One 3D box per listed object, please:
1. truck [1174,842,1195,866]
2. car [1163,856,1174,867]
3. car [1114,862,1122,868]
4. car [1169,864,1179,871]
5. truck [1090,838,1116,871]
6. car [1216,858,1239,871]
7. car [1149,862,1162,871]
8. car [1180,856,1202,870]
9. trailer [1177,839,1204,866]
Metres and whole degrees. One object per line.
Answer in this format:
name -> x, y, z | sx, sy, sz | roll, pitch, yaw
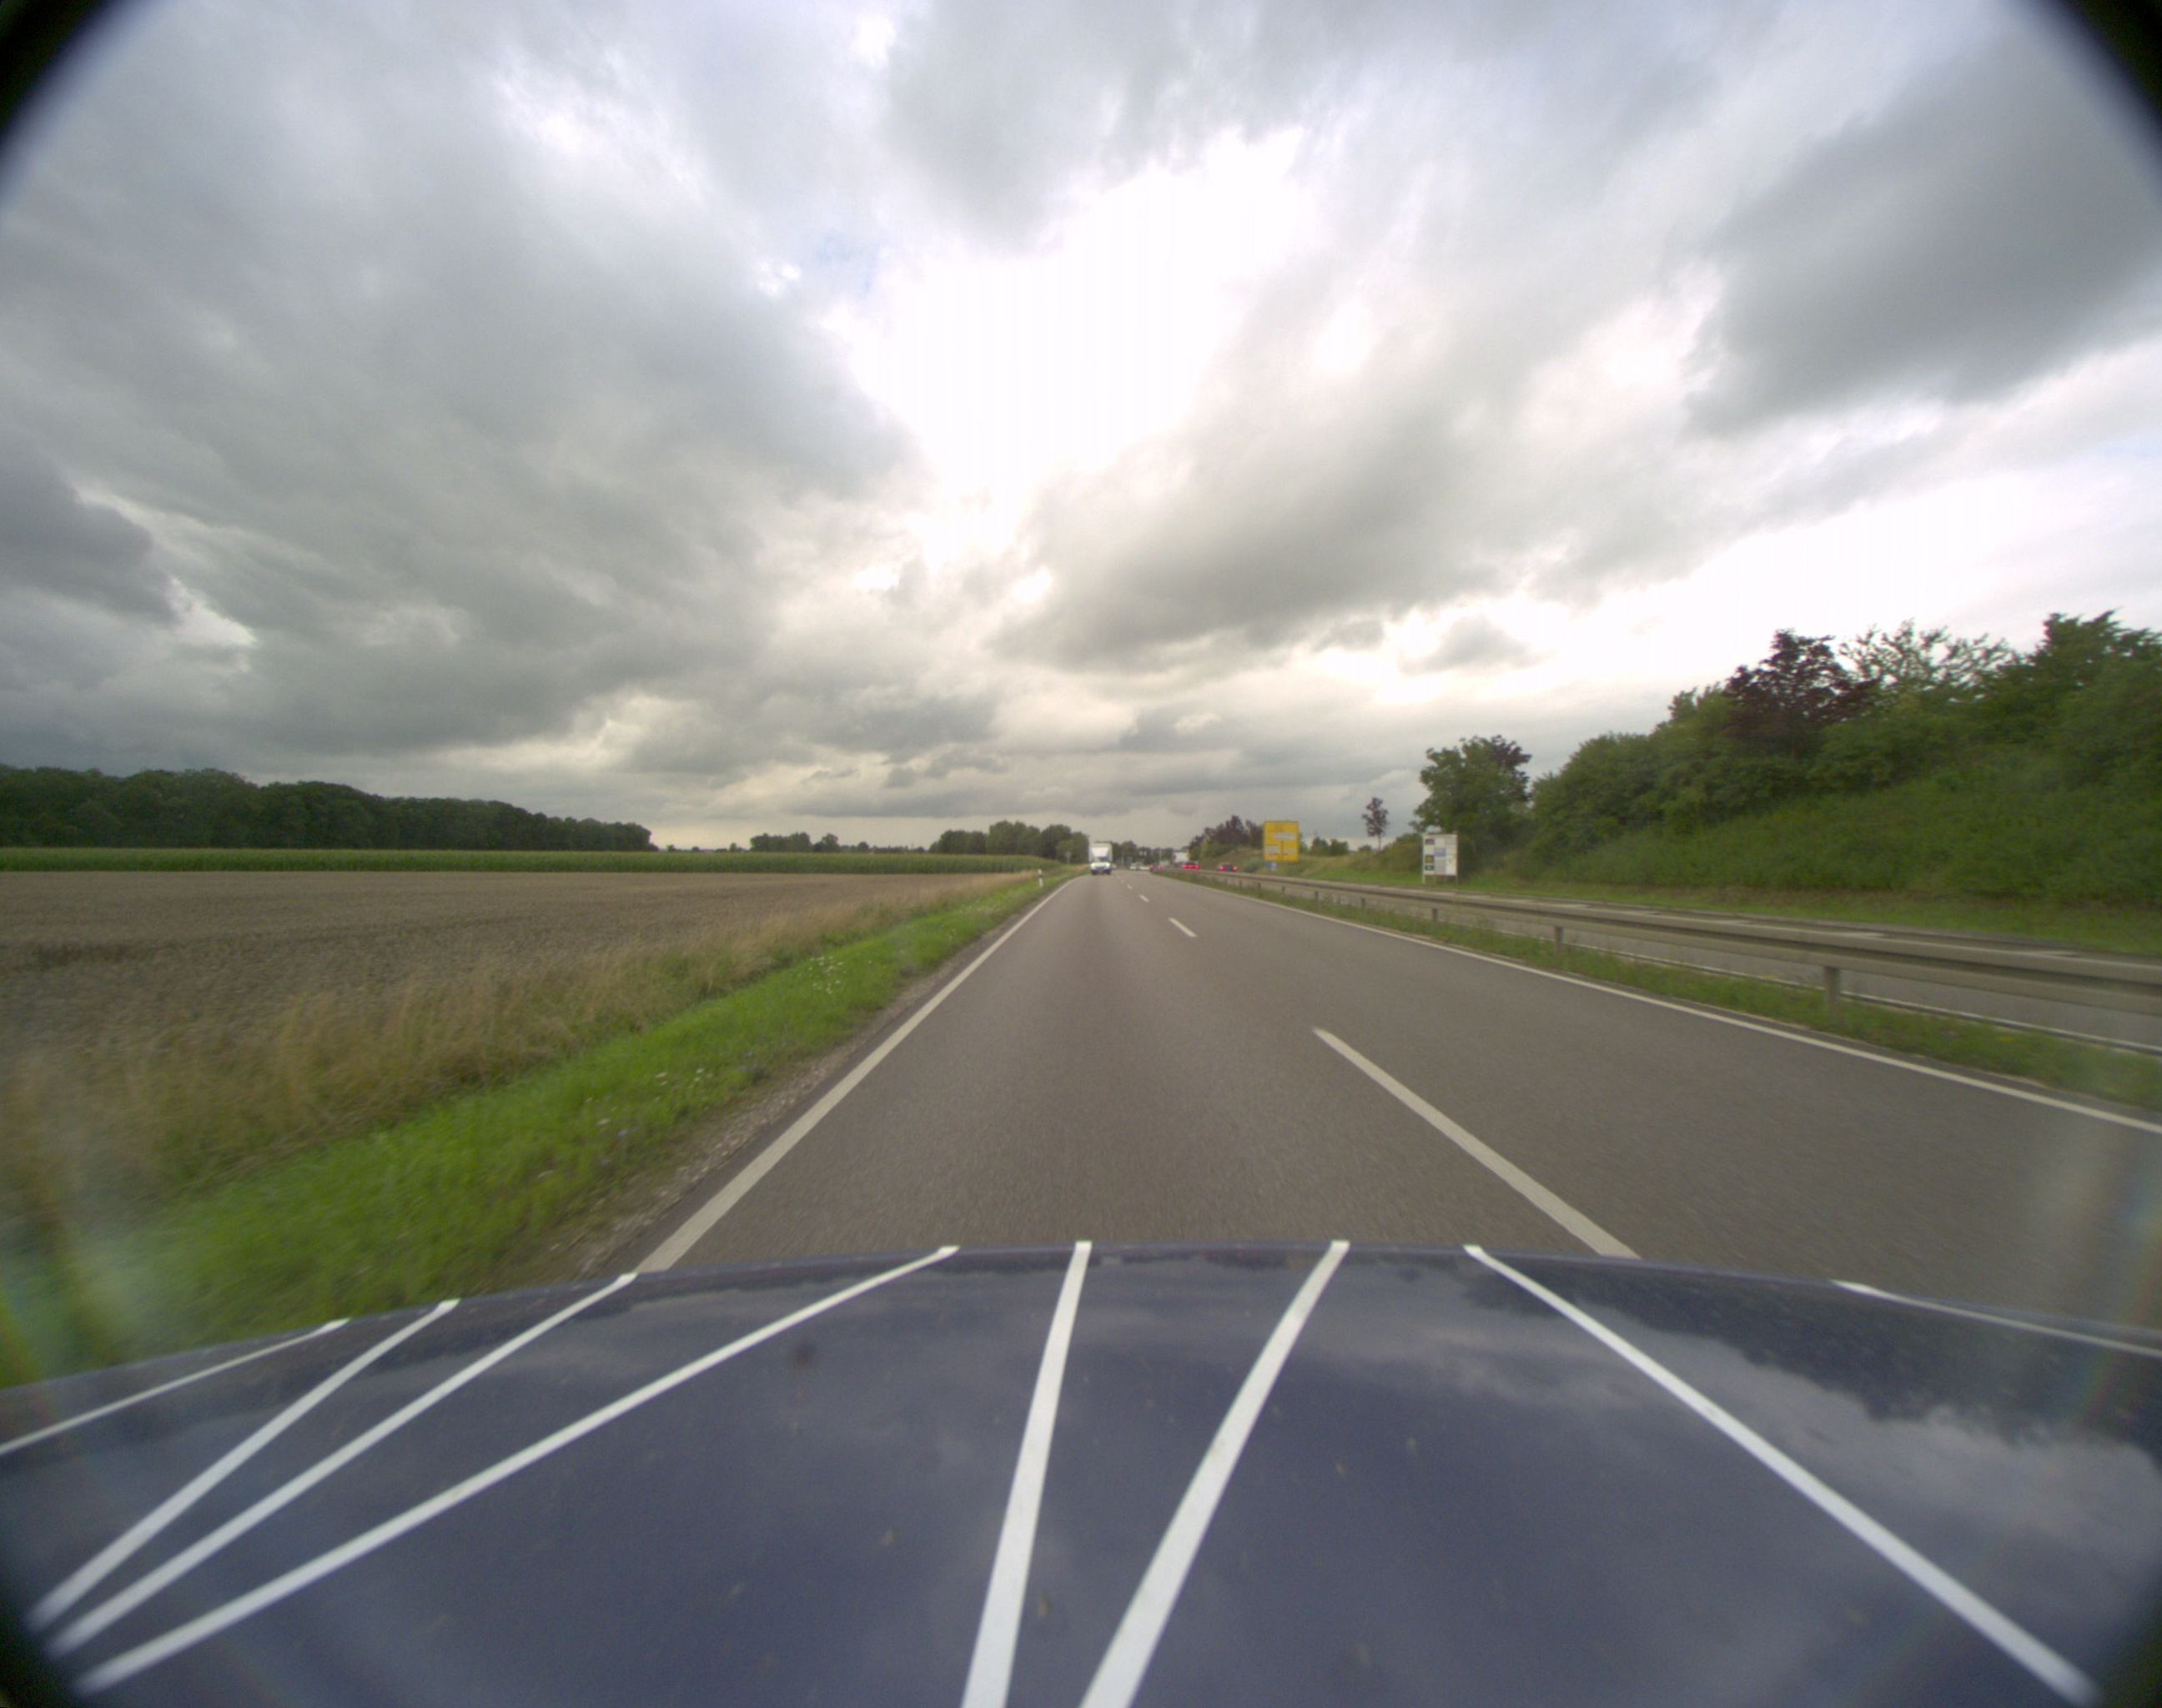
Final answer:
truck -> 17.070, 0.023, 125.722 | 2.809, 3.973, 5.288 | 0, -1, 2
car -> 20.302, 1.698, 176.943 | 2.038, 2.425, 5.637 | 2, -1, 2
car -> 9.213, 2.674, 190.337 | 2.090, 1.510, 4.194 | 0, -1, 3
car -> 19.430, 2.817, 158.607 | 1.736, 1.521, 4.550 | 1, -1, 2
truck -> 2.595, 0.162, 88.170 | 2.934, 3.652, 8.445 | 0, -1, 2
car -> 15.238, 1.117, 79.358 | 1.695, 1.316, 4.418 | 0, -1, 2
car -> 13.192, 2.241, 135.290 | 2.090, 1.510, 4.194 | 0, -1, 3
car -> 11.452, 0.957, 79.118 | 1.758, 1.477, 4.578 | 0, -1, 2
trailer -> 16.844, -0.094, 117.713 | 2.782, 3.923, 12.988 | 0, -1, 2
